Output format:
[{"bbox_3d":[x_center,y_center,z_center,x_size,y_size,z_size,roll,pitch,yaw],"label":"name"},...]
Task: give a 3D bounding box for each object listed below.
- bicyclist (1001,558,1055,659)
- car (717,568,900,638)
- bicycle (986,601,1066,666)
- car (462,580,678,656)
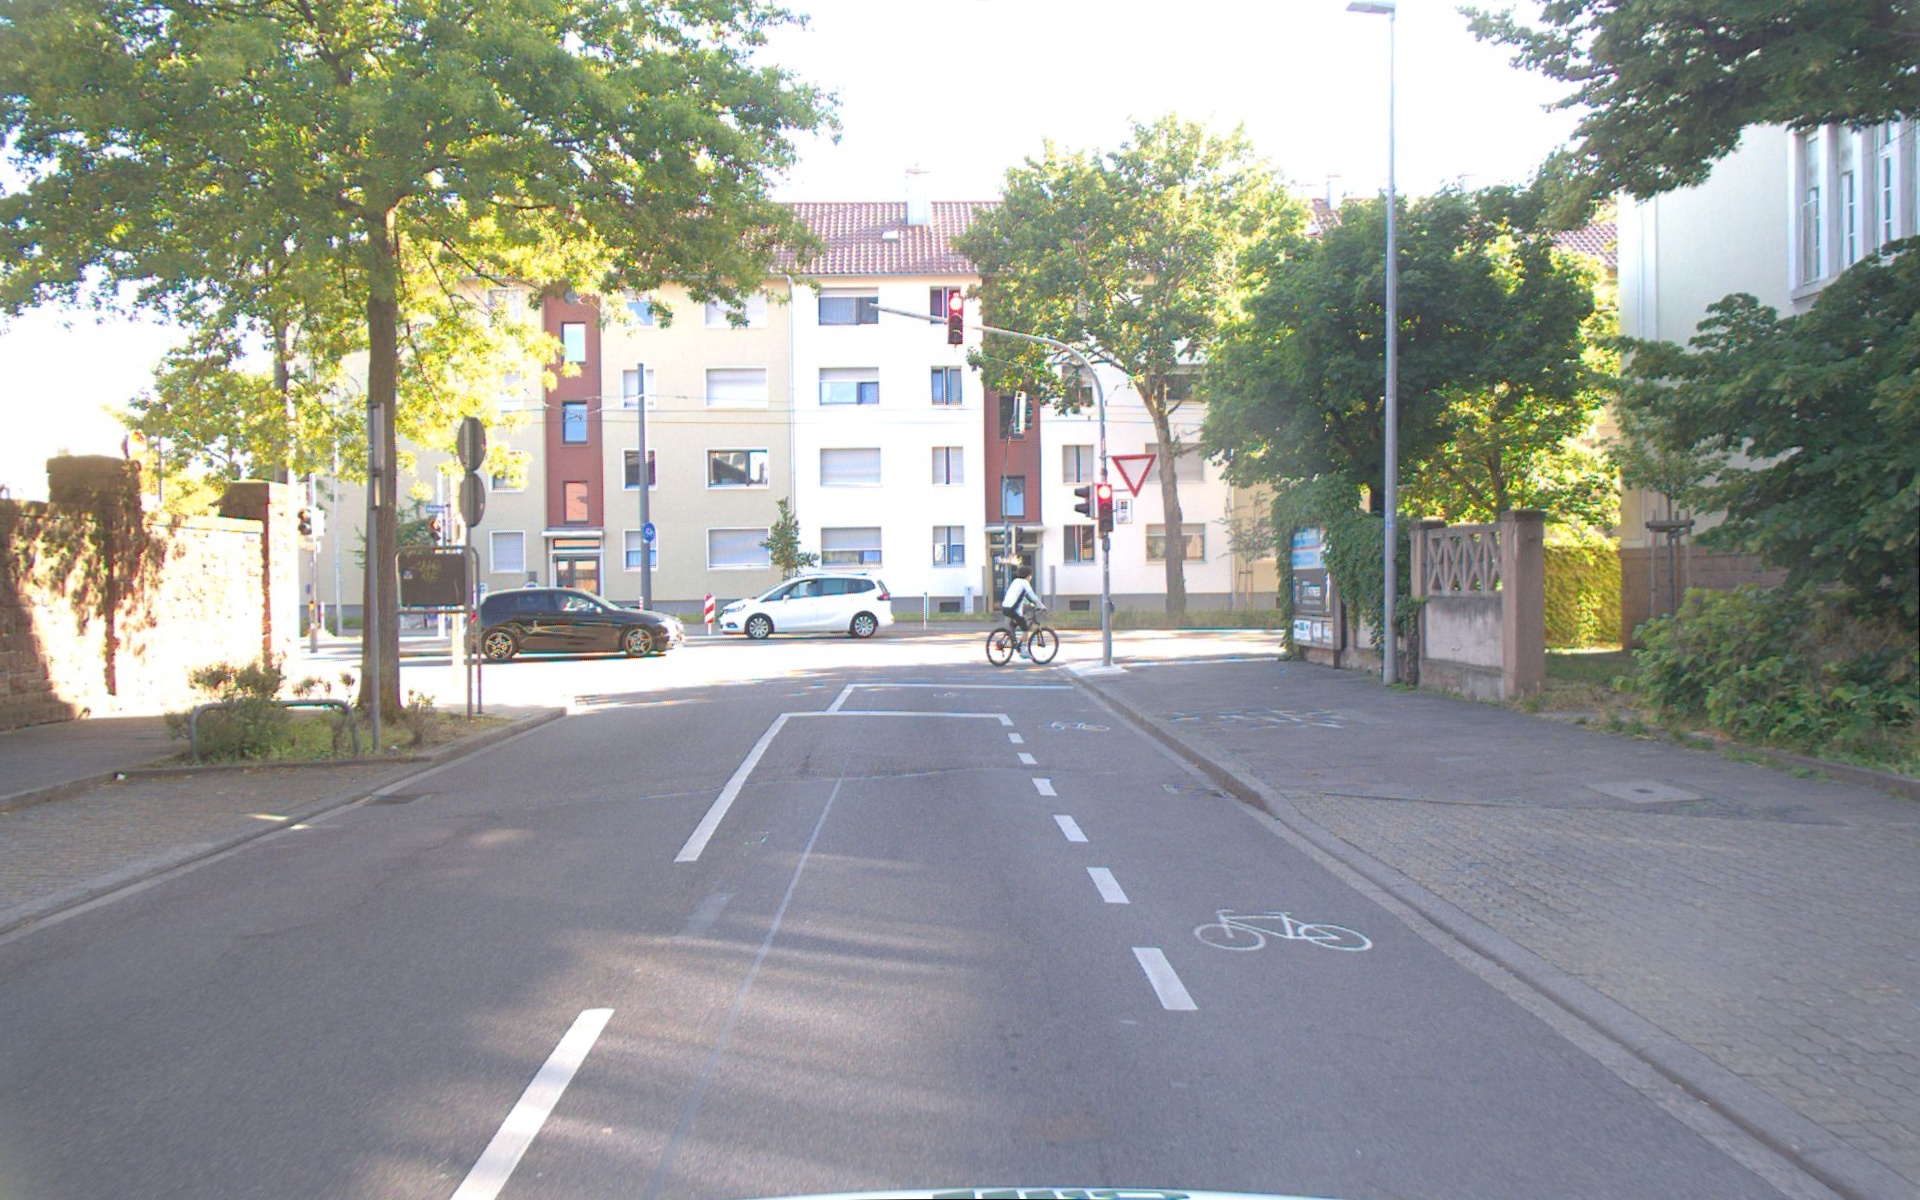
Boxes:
[{"bbox_3d":[1.227,0.141,29.860,0.782,1.787,0.603,-1,1,-43],"label":"bicyclist"},{"bbox_3d":[-4.002,0.064,43.332,4.580,1.770,1.994,0,1,-12],"label":"car"},{"bbox_3d":[1.200,0.591,29.833,1.675,1.099,0.346,-1,1,-42],"label":"bicycle"},{"bbox_3d":[-7.823,0.351,33.280,4.123,1.446,1.846,0,1,-15],"label":"car"}]
